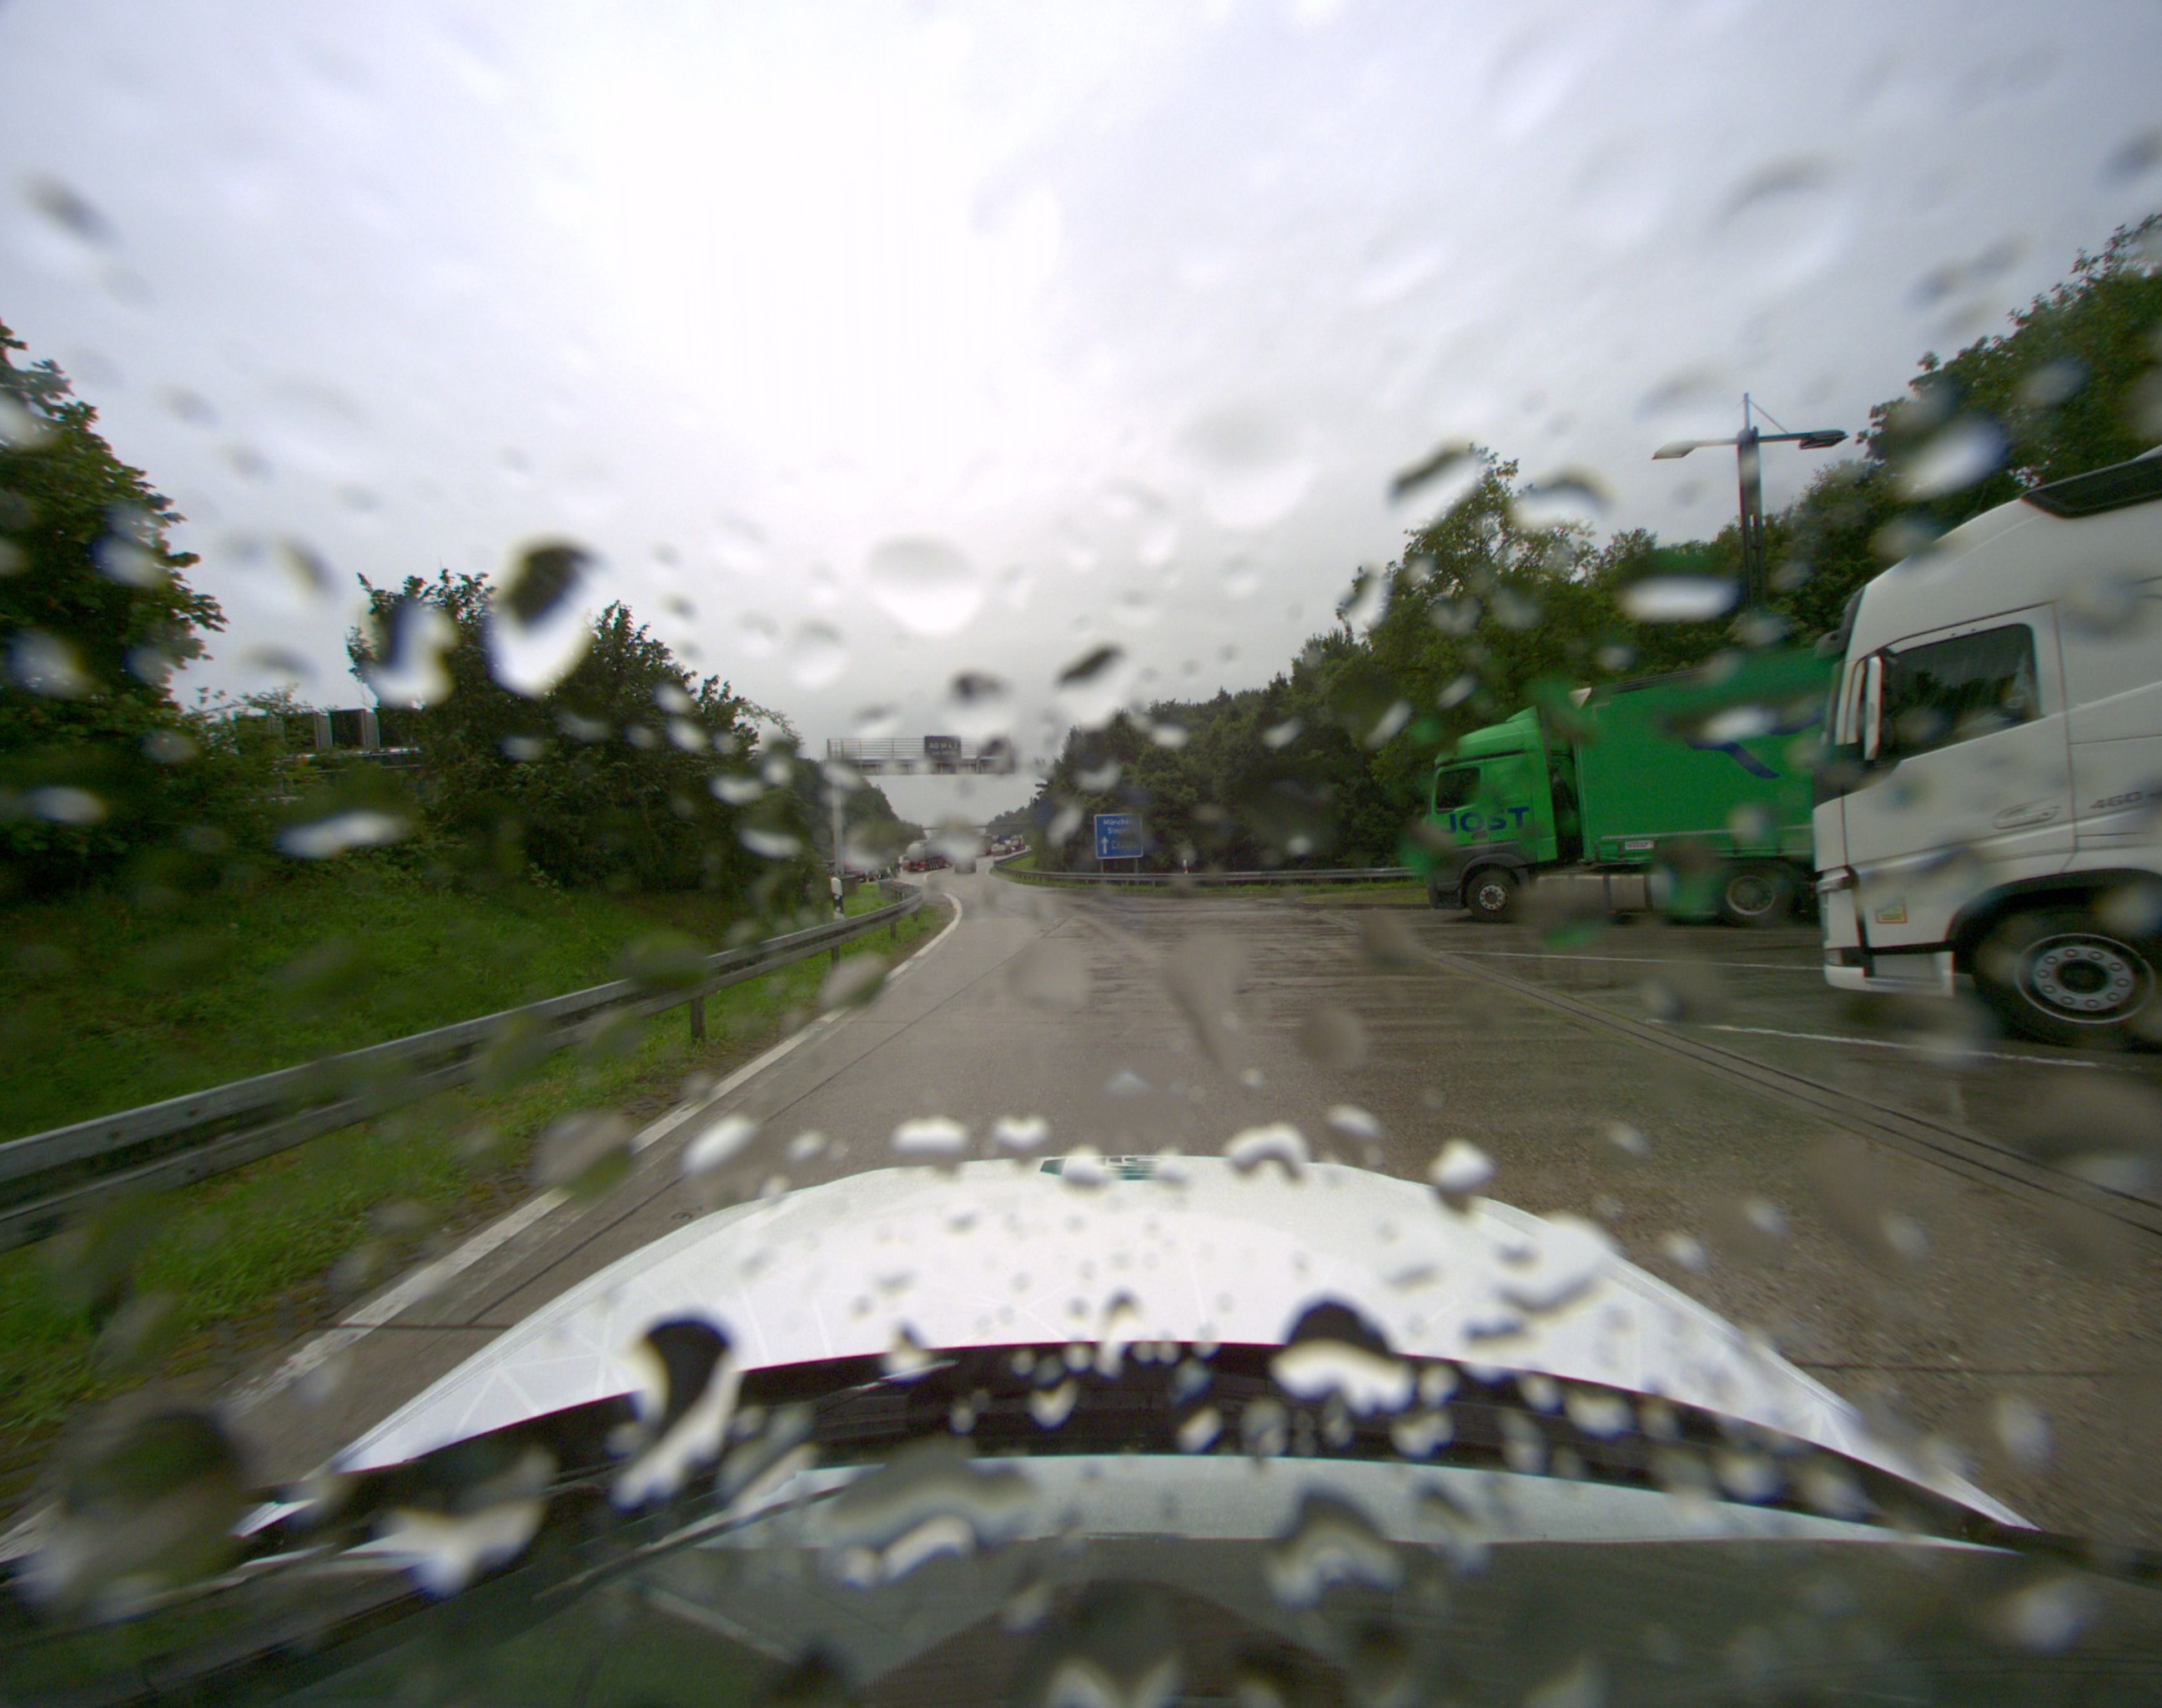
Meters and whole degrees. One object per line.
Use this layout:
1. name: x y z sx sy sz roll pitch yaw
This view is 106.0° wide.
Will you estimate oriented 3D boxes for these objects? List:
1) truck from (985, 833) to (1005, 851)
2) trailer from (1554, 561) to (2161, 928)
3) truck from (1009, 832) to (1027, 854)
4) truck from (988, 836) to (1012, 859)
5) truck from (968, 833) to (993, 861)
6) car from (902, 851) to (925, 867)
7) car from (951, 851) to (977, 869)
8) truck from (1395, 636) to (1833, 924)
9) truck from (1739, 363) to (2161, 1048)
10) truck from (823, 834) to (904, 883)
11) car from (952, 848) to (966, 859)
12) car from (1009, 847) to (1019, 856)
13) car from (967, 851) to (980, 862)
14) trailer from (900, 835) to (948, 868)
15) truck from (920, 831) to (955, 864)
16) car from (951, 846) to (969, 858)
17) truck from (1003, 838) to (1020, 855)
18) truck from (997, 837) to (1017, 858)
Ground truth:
1. truck: -20.918 -2.866 199.085 3.565 4.095 10.877 -3 0 0
2. trailer: 13.817 -1.330 9.656 2.842 4.149 13.800 -3 -1 -41
3. truck: -16.749 -2.795 216.124 4.325 5.764 9.721 0 -1 -2
4. truck: -15.417 -1.321 156.715 3.591 4.104 11.552 -4 1 -2
5. truck: -20.006 -1.292 162.771 3.742 5.499 10.171 0 -1 0
6. car: -20.429 0.633 99.487 1.813 1.766 4.000 -3 1 0
7. car: -11.290 0.596 78.670 1.987 1.636 3.998 0 0 -1
8. truck: 9.374 -0.984 14.867 2.842 4.149 5.926 -3 -1 -41
9. truck: 8.100 -0.980 5.324 2.841 4.145 5.240 -3 -1 -39
10. truck: -18.085 0.206 68.826 2.819 3.588 11.808 -4 1 3
11. car: -22.484 -0.104 149.947 1.792 1.903 3.999 -4 0 0
12. car: -15.039 -0.547 183.491 1.793 1.903 3.998 -4 0 -1
13. car: -18.901 0.408 142.685 1.792 1.904 3.998 -1 0 -1
14. trailer: -17.433 -0.425 91.125 2.862 3.288 10.086 -4 1 3
15. truck: -17.147 -0.817 97.867 2.865 3.693 5.060 -4 1 3
16. car: -29.506 -0.480 198.538 3.236 3.002 6.771 0 0 0
17. truck: -16.736 -1.832 196.615 3.746 3.970 11.048 0 0 -3
18. truck: -15.652 -1.405 172.550 3.498 4.268 10.594 0 0 -2
